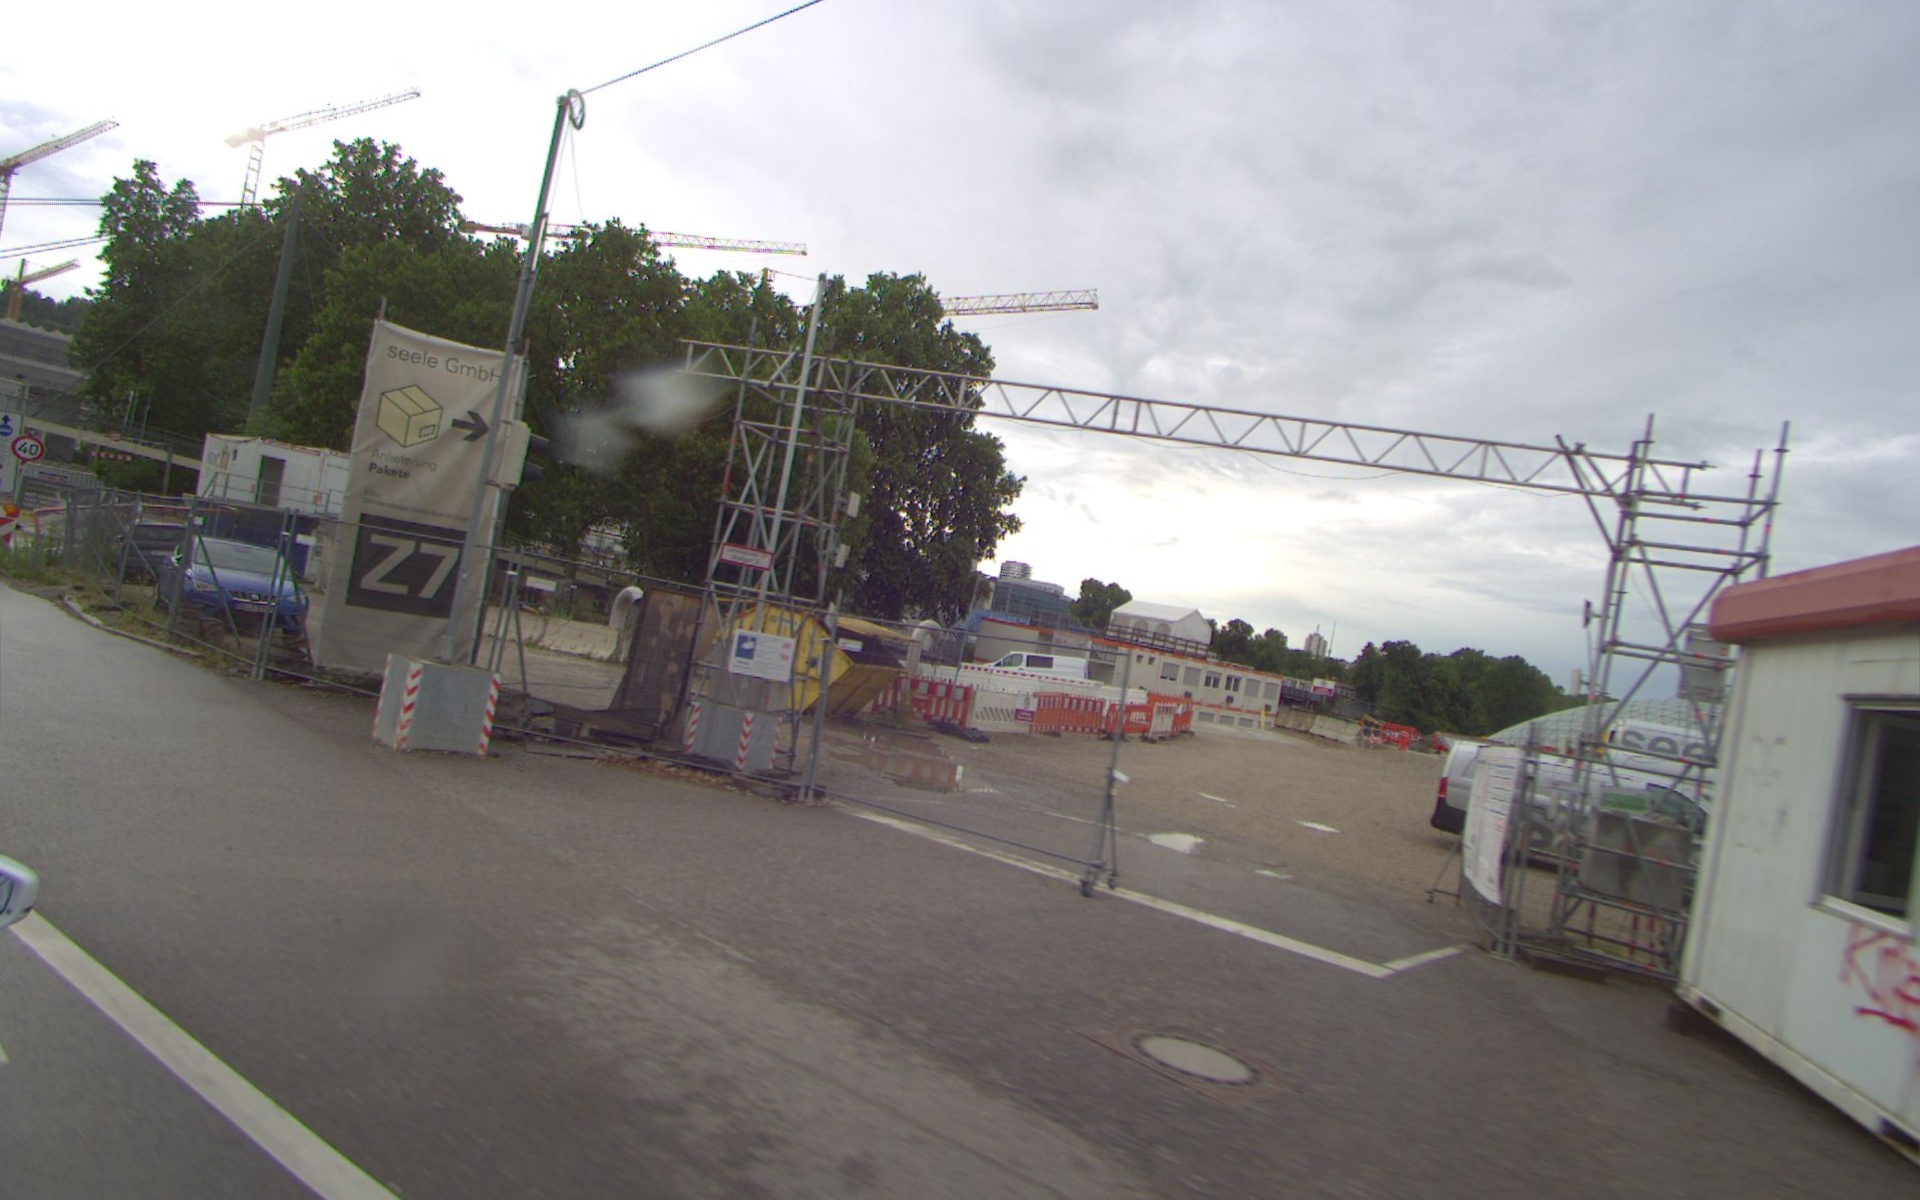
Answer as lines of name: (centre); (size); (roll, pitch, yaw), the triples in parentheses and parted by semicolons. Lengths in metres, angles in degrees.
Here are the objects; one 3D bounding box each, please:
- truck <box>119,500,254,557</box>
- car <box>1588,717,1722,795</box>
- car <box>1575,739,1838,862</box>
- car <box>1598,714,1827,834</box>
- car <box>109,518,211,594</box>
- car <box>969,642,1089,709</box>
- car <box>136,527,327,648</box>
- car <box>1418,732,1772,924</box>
truck: (-41.748, -3.814, 54.412); (2.371, 2.036, 5.163); (7, -3, 34)
car: (27.847, 6.258, 40.327); (4.343, 2.411, 2.141); (8, -1, -21)
car: (18.761, 4.991, 25.640); (4.895, 1.911, 1.998); (7, 0, 27)
car: (22.029, 5.022, 29.746); (4.895, 2.471, 1.999); (7, 0, 27)
car: (-21.571, -1.224, 27.058); (1.912, 1.671, 4.362); (4, 2, -41)
car: (3.146, 3.487, 46.594); (5.166, 2.307, 1.955); (7, 1, 0)
car: (-12.697, -0.266, 17.422); (4.355, 1.456, 1.832); (7, -4, 45)
car: (10.448, 3.634, 16.911); (4.577, 1.924, 2.016); (8, 0, 33)
